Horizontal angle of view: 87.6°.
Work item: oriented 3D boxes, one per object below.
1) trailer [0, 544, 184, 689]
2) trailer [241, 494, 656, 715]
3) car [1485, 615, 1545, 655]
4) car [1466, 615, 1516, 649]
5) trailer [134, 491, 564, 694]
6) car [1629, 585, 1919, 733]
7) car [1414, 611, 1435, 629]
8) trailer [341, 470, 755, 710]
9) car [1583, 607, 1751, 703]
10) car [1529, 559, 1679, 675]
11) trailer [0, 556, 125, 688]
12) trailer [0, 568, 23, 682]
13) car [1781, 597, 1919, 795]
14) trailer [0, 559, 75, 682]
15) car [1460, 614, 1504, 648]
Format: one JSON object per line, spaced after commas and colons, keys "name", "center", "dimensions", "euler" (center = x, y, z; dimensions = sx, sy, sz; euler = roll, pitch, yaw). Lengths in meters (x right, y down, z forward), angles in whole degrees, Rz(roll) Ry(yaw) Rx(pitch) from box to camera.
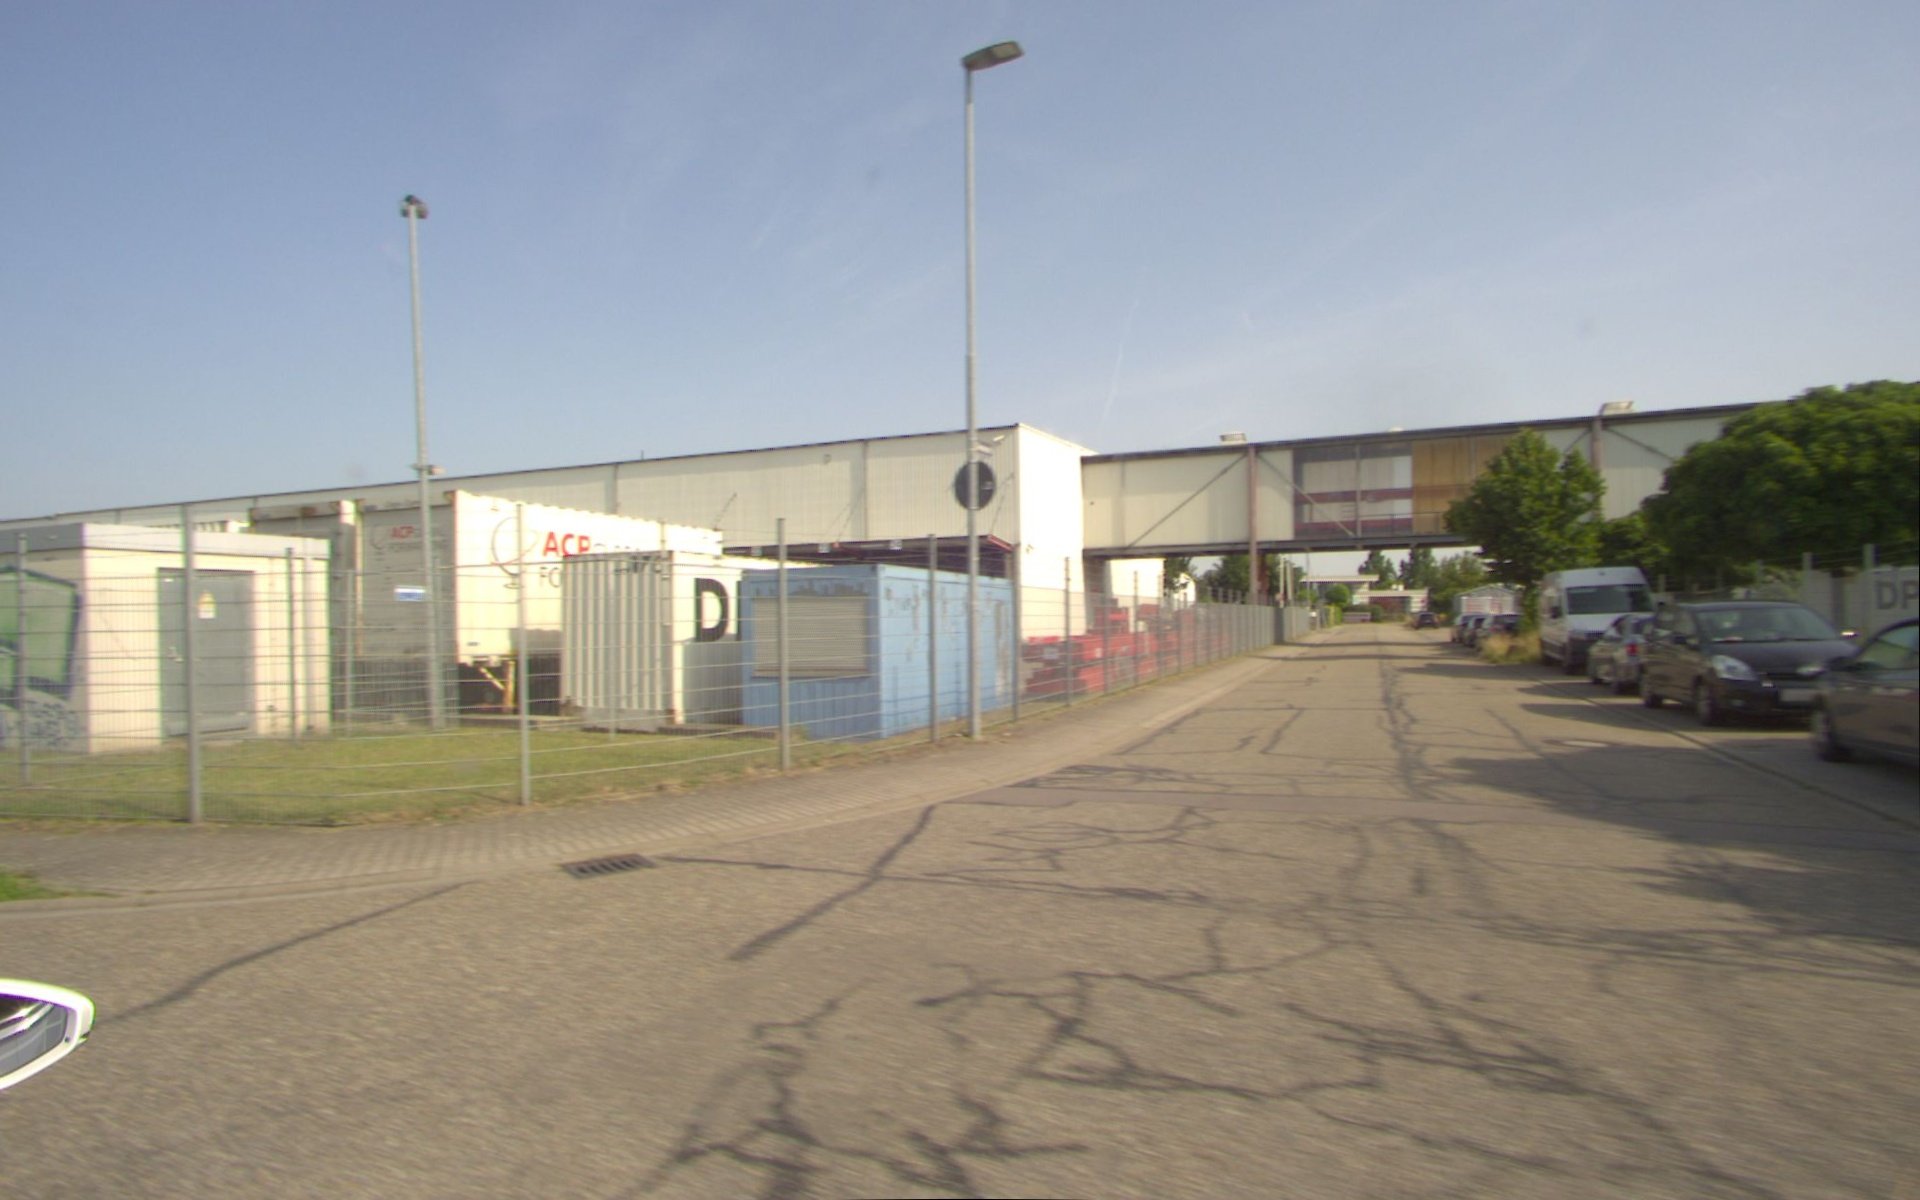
{"name": "trailer", "center": [-27.356, 0.463, 28.151], "dimensions": [2.727, 3.942, 8.551], "euler": [0, -2, 20]}
{"name": "trailer", "center": [-10.710, 0.111, 22.379], "dimensions": [2.729, 3.945, 8.541], "euler": [-1, 0, 22]}
{"name": "car", "center": [21.024, 1.287, 38.043], "dimensions": [1.700, 1.405, 3.773], "euler": [-1, -1, 25]}
{"name": "car", "center": [22.989, 1.362, 43.433], "dimensions": [1.700, 1.405, 3.773], "euler": [-1, -1, 25]}
{"name": "trailer", "center": [-13.503, 0.005, 23.384], "dimensions": [2.743, 3.808, 8.743], "euler": [-1, -2, 21]}
{"name": "car", "center": [10.737, 0.752, 13.615], "dimensions": [1.847, 1.646, 4.258], "euler": [-3, -2, 22]}
{"name": "car", "center": [41.479, 1.796, 89.475], "dimensions": [1.700, 1.543, 3.773], "euler": [-1, -1, 25]}
{"name": "trailer", "center": [-7.967, -0.033, 21.060], "dimensions": [2.730, 3.943, 8.542], "euler": [-3, -2, 23]}
{"name": "car", "center": [13.065, 0.968, 18.785], "dimensions": [1.700, 1.537, 4.478], "euler": [-4, -2, 25]}
{"name": "car", "center": [16.232, 0.463, 25.669], "dimensions": [2.173, 2.514, 6.827], "euler": [-3, -2, 25]}
{"name": "trailer", "center": [-30.204, 0.602, 29.322], "dimensions": [2.727, 3.942, 8.551], "euler": [0, -2, 20]}
{"name": "trailer", "center": [-35.667, 0.684, 31.731], "dimensions": [2.727, 3.942, 8.322], "euler": [0, -2, 20]}
{"name": "car", "center": [8.573, 0.723, 8.208], "dimensions": [1.699, 1.543, 3.951], "euler": [-3, -2, 23]}
{"name": "trailer", "center": [-32.865, 0.541, 30.625], "dimensions": [2.727, 3.942, 8.322], "euler": [0, -2, 20]}
{"name": "car", "center": [25.166, 1.463, 48.347], "dimensions": [1.700, 1.543, 3.773], "euler": [-1, -1, 25]}
